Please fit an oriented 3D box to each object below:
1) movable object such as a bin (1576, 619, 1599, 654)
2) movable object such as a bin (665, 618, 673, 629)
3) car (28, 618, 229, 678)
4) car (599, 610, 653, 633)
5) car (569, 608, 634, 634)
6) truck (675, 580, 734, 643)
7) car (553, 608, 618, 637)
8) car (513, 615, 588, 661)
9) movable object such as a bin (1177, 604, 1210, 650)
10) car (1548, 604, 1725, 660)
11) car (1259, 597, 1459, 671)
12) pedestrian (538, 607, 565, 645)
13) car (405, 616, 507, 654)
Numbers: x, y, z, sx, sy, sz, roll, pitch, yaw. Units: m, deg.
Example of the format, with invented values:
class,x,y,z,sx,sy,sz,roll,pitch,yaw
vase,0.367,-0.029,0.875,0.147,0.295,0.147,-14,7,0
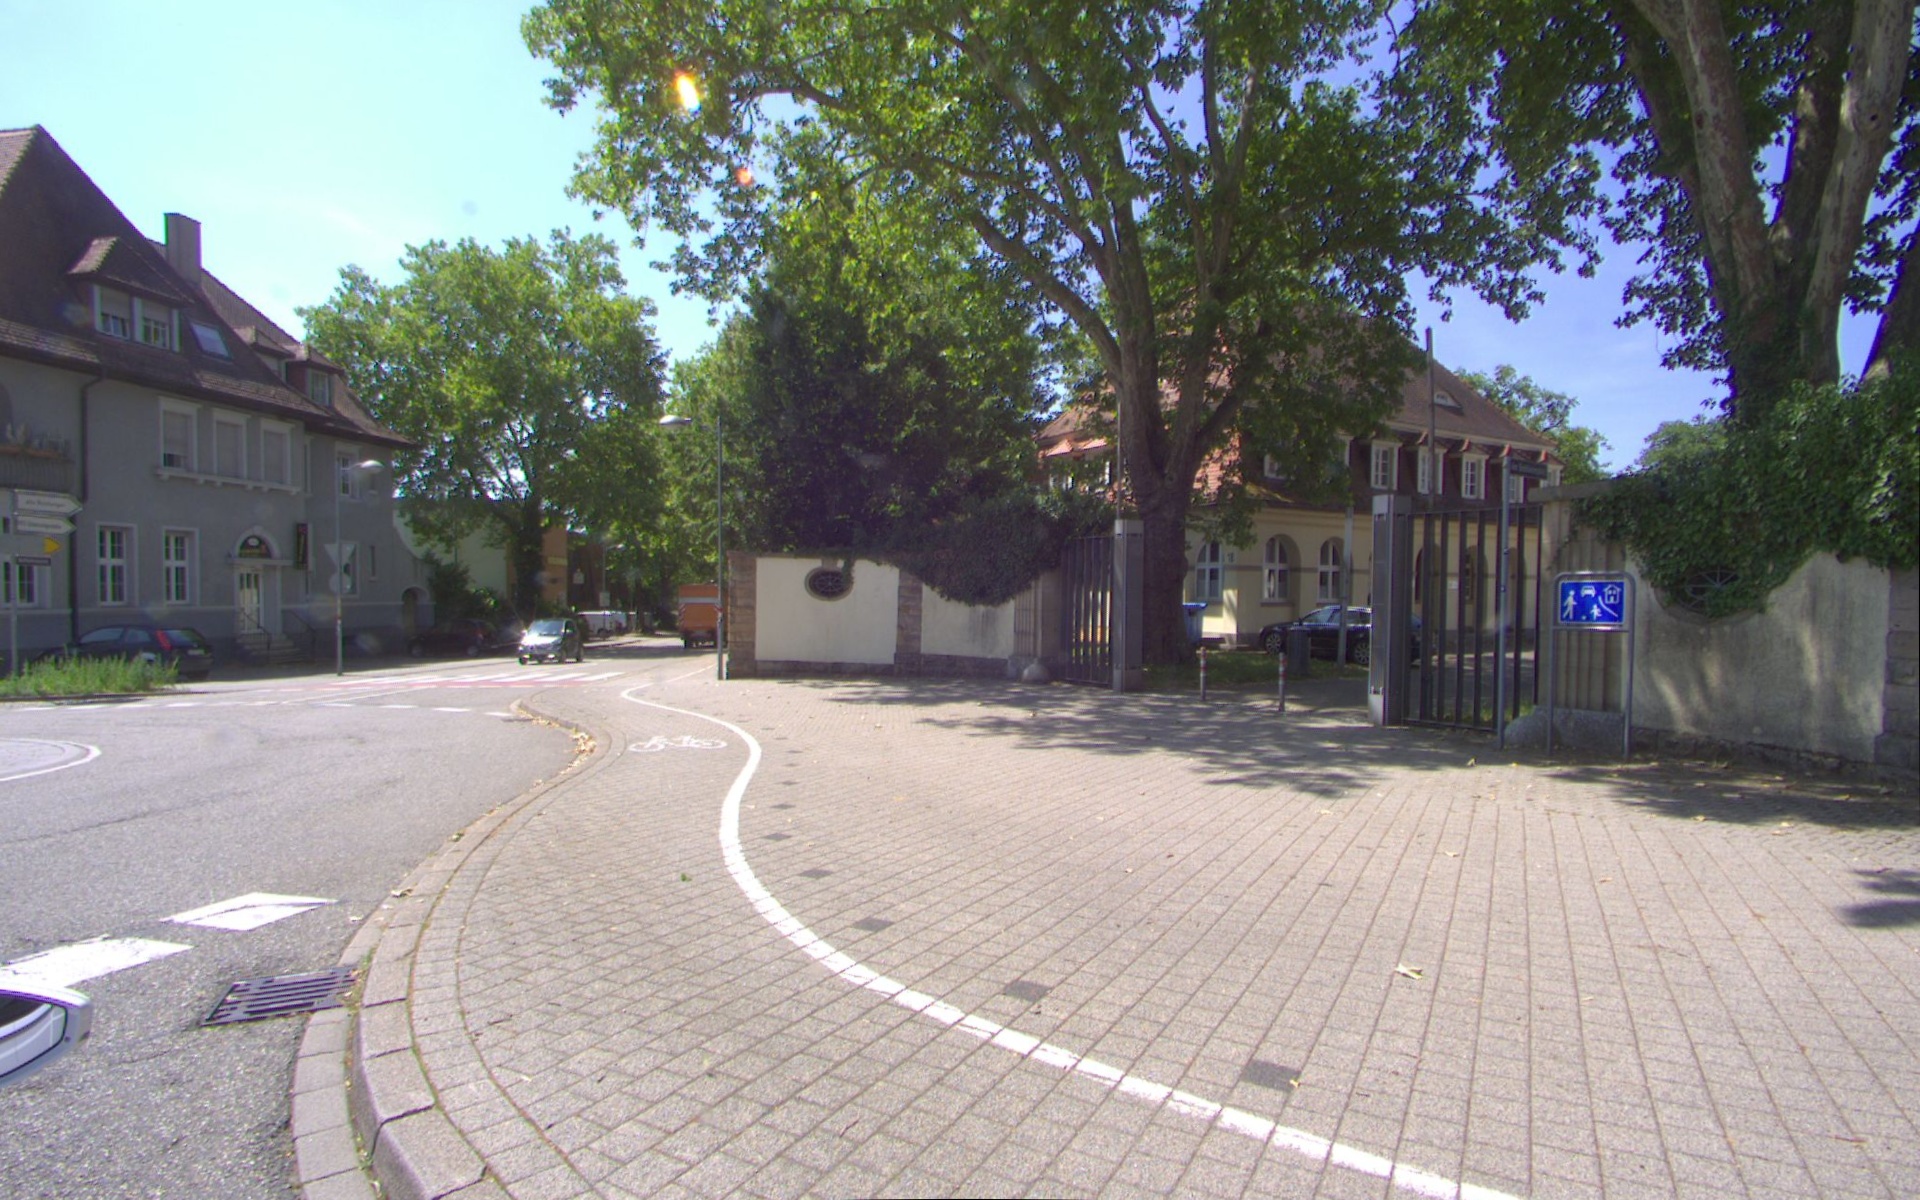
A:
class,x,y,z,sx,sy,sz,roll,pitch,yaw
movable object such as a bin,18.410,1.061,29.373,0.530,1.021,0.525,0,0,28
movable object such as a bin,-29.931,2.404,102.855,0.613,1.062,0.620,0,0,1
car,-21.022,1.193,25.410,3.719,1.479,1.724,0,-1,3
car,-28.302,1.821,84.883,4.065,1.827,1.902,2,-1,-10
car,-27.460,1.617,76.773,4.355,1.827,1.902,2,-1,-11
truck,-13.381,0.676,52.830,2.333,3.173,5.769,0,-2,-7
car,-26.061,1.564,69.831,3.925,1.816,1.867,2,-1,-10
car,-14.240,1.309,34.977,1.539,1.550,2.789,0,-1,-1
movable object such as a bin,6.761,0.778,29.039,0.661,1.314,0.672,0,0,-41
car,22.692,1.015,33.774,1.972,1.423,4.472,0,4,-31
car,10.163,0.803,25.890,1.972,1.423,4.472,0,4,-31
pedestrian,-18.968,1.203,46.504,0.858,1.765,1.112,0,0,-6
car,-20.705,1.426,41.197,3.326,1.567,1.724,0,0,3
